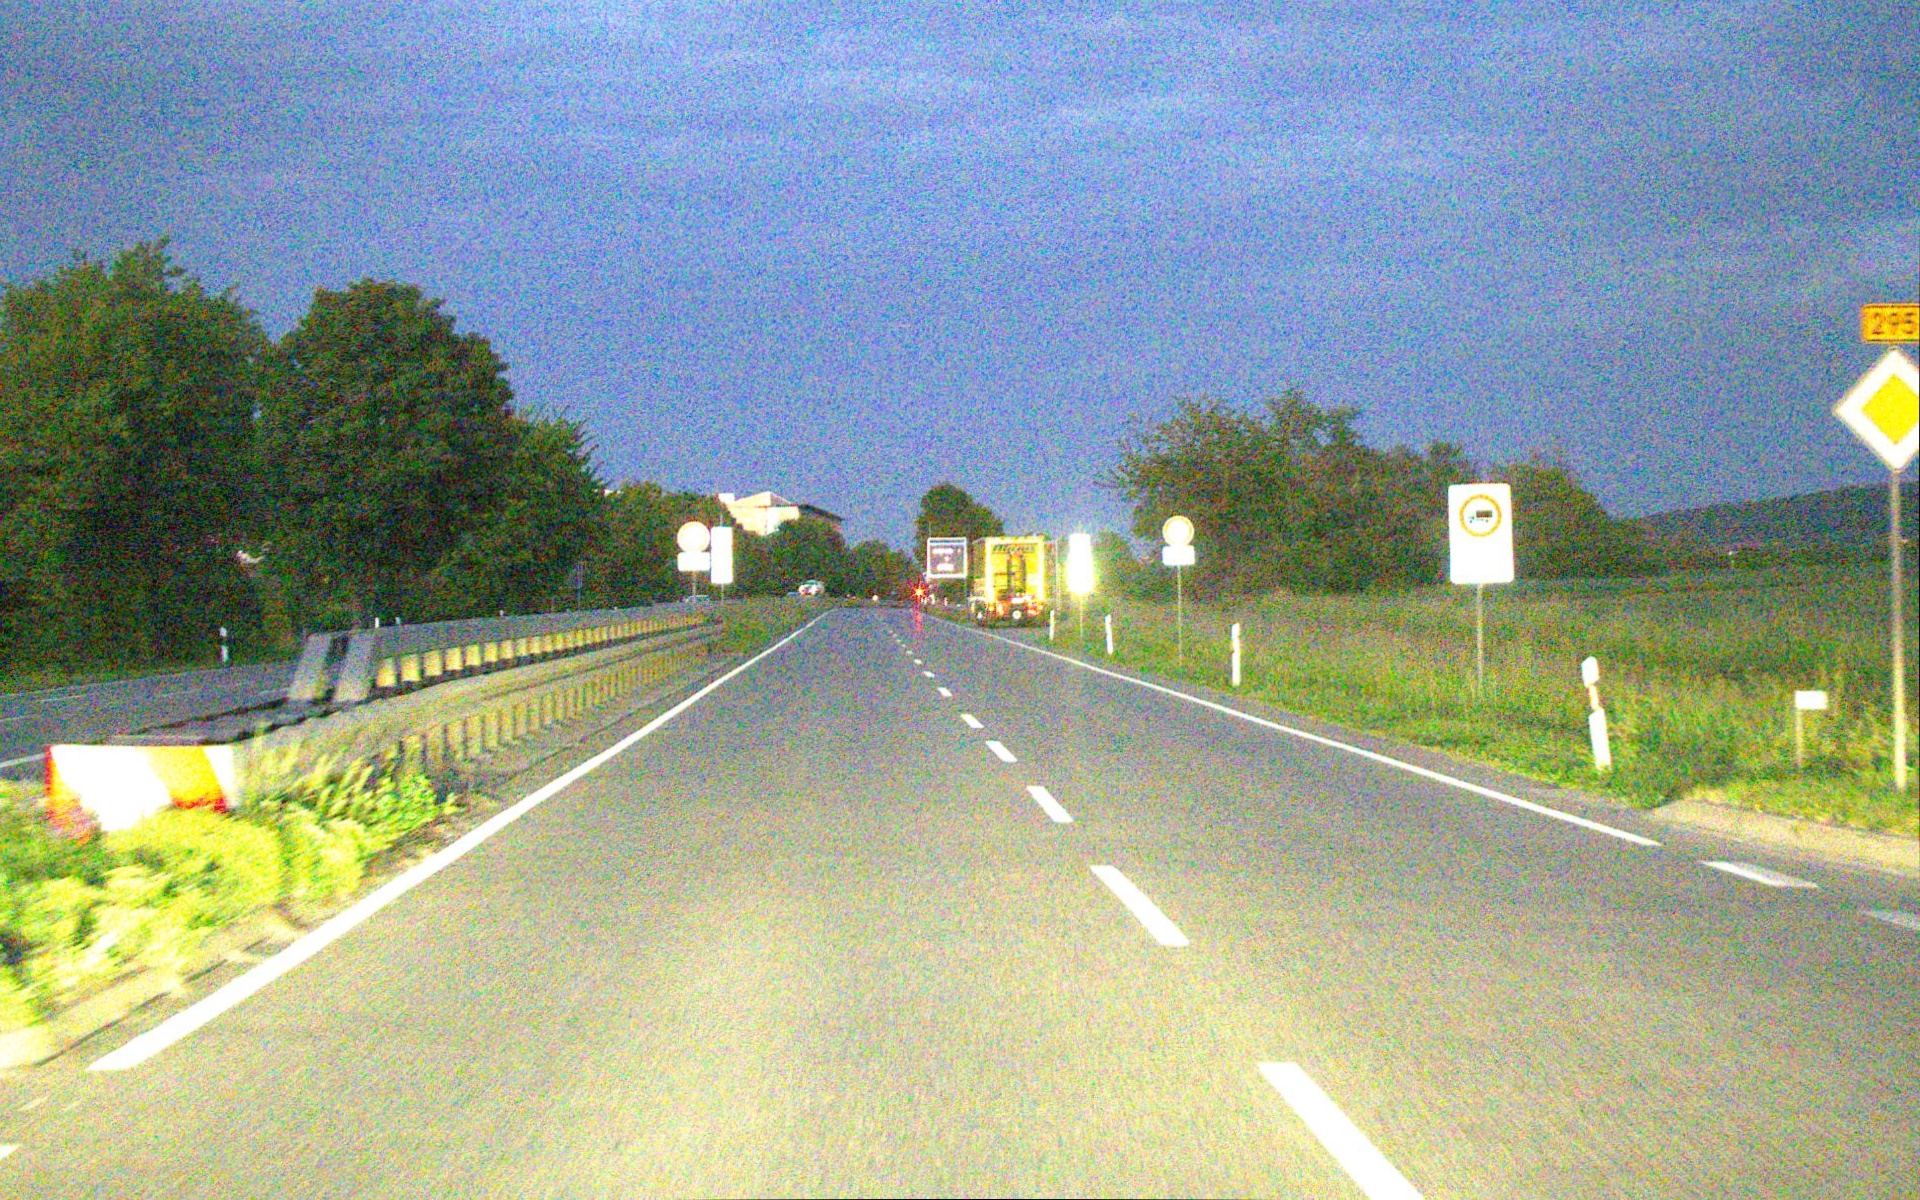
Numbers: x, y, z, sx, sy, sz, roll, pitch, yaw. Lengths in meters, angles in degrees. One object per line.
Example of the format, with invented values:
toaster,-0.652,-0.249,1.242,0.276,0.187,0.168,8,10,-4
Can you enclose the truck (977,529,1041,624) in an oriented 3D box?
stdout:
truck,2.124,-1.044,151.185,2.579,4.057,6.130,1,1,-1

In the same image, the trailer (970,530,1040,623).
trailer,1.996,-1.065,158.331,2.622,4.090,12.938,-1,0,-2
